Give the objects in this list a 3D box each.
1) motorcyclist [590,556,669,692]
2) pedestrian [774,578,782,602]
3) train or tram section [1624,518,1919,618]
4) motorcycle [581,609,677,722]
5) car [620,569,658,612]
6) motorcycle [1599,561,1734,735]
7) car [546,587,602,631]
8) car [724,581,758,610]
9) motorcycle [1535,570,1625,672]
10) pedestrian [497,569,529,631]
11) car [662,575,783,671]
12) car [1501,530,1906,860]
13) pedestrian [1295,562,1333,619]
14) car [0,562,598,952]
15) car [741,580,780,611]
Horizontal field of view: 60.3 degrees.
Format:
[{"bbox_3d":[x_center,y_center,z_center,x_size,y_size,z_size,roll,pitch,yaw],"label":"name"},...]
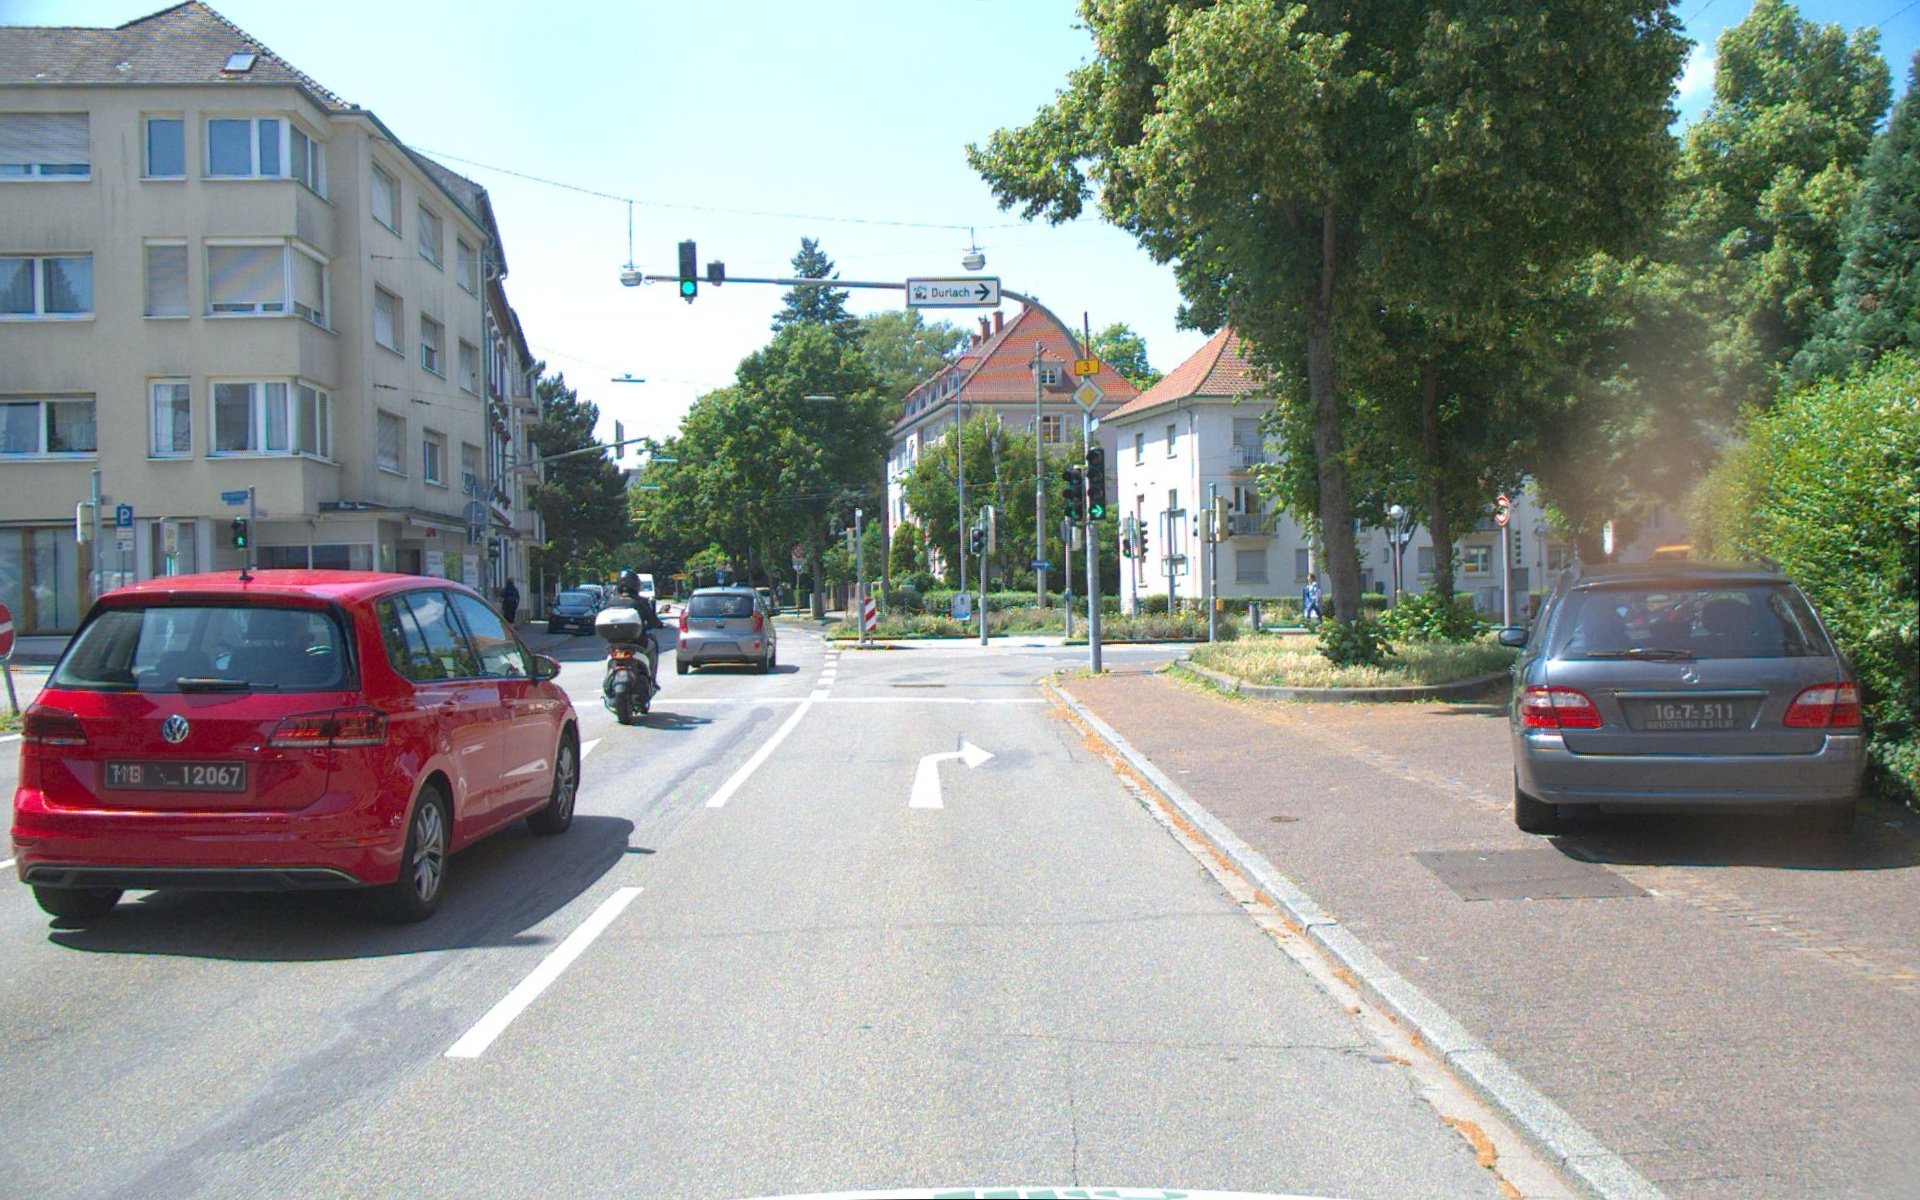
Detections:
[{"bbox_3d":[-3.673,0.254,18.441,0.696,1.471,1.019,-1,0,-2],"label":"motorcyclist"},{"bbox_3d":[-12.426,-0.679,113.050,0.499,1.685,0.465,0,0,-8],"label":"pedestrian"},{"bbox_3d":[32.579,-1.273,64.126,13.905,3.631,2.806,-1,0,-16],"label":"train or tram section"},{"bbox_3d":[-3.681,0.700,18.555,0.696,1.154,2.196,-1,1,-2],"label":"motorcycle"},{"bbox_3d":[-21.021,-0.618,108.670,2.177,2.544,7.535,-4,1,-10],"label":"car"},{"bbox_3d":[5.994,0.359,14.143,0.911,1.325,2.282,-2,1,20],"label":"motorcycle"},{"bbox_3d":[-14.207,0.336,60.746,1.960,1.545,3.985,0,-1,-14],"label":"car"},{"bbox_3d":[-15.149,-0.325,114.296,1.959,1.940,3.986,0,1,-13],"label":"car"},{"bbox_3d":[8.601,0.267,22.885,0.898,1.335,2.222,0,1,28],"label":"motorcycle"},{"bbox_3d":[-14.476,0.001,53.581,0.919,1.965,0.974,-1,0,-13],"label":"pedestrian"},{"bbox_3d":[-4.234,0.377,30.004,1.763,1.585,4.035,-1,0,-3],"label":"car"},{"bbox_3d":[4.472,0.384,10.619,1.796,1.575,5.159,-2,2,19],"label":"car"},{"bbox_3d":[10.892,-0.287,50.913,0.826,1.735,0.755,-1,0,-28],"label":"pedestrian"},{"bbox_3d":[-3.232,0.630,8.777,1.762,1.585,4.037,0,0,-1],"label":"car"},{"bbox_3d":[-12.225,-0.306,101.180,1.959,1.839,3.986,0,1,-13],"label":"car"}]
